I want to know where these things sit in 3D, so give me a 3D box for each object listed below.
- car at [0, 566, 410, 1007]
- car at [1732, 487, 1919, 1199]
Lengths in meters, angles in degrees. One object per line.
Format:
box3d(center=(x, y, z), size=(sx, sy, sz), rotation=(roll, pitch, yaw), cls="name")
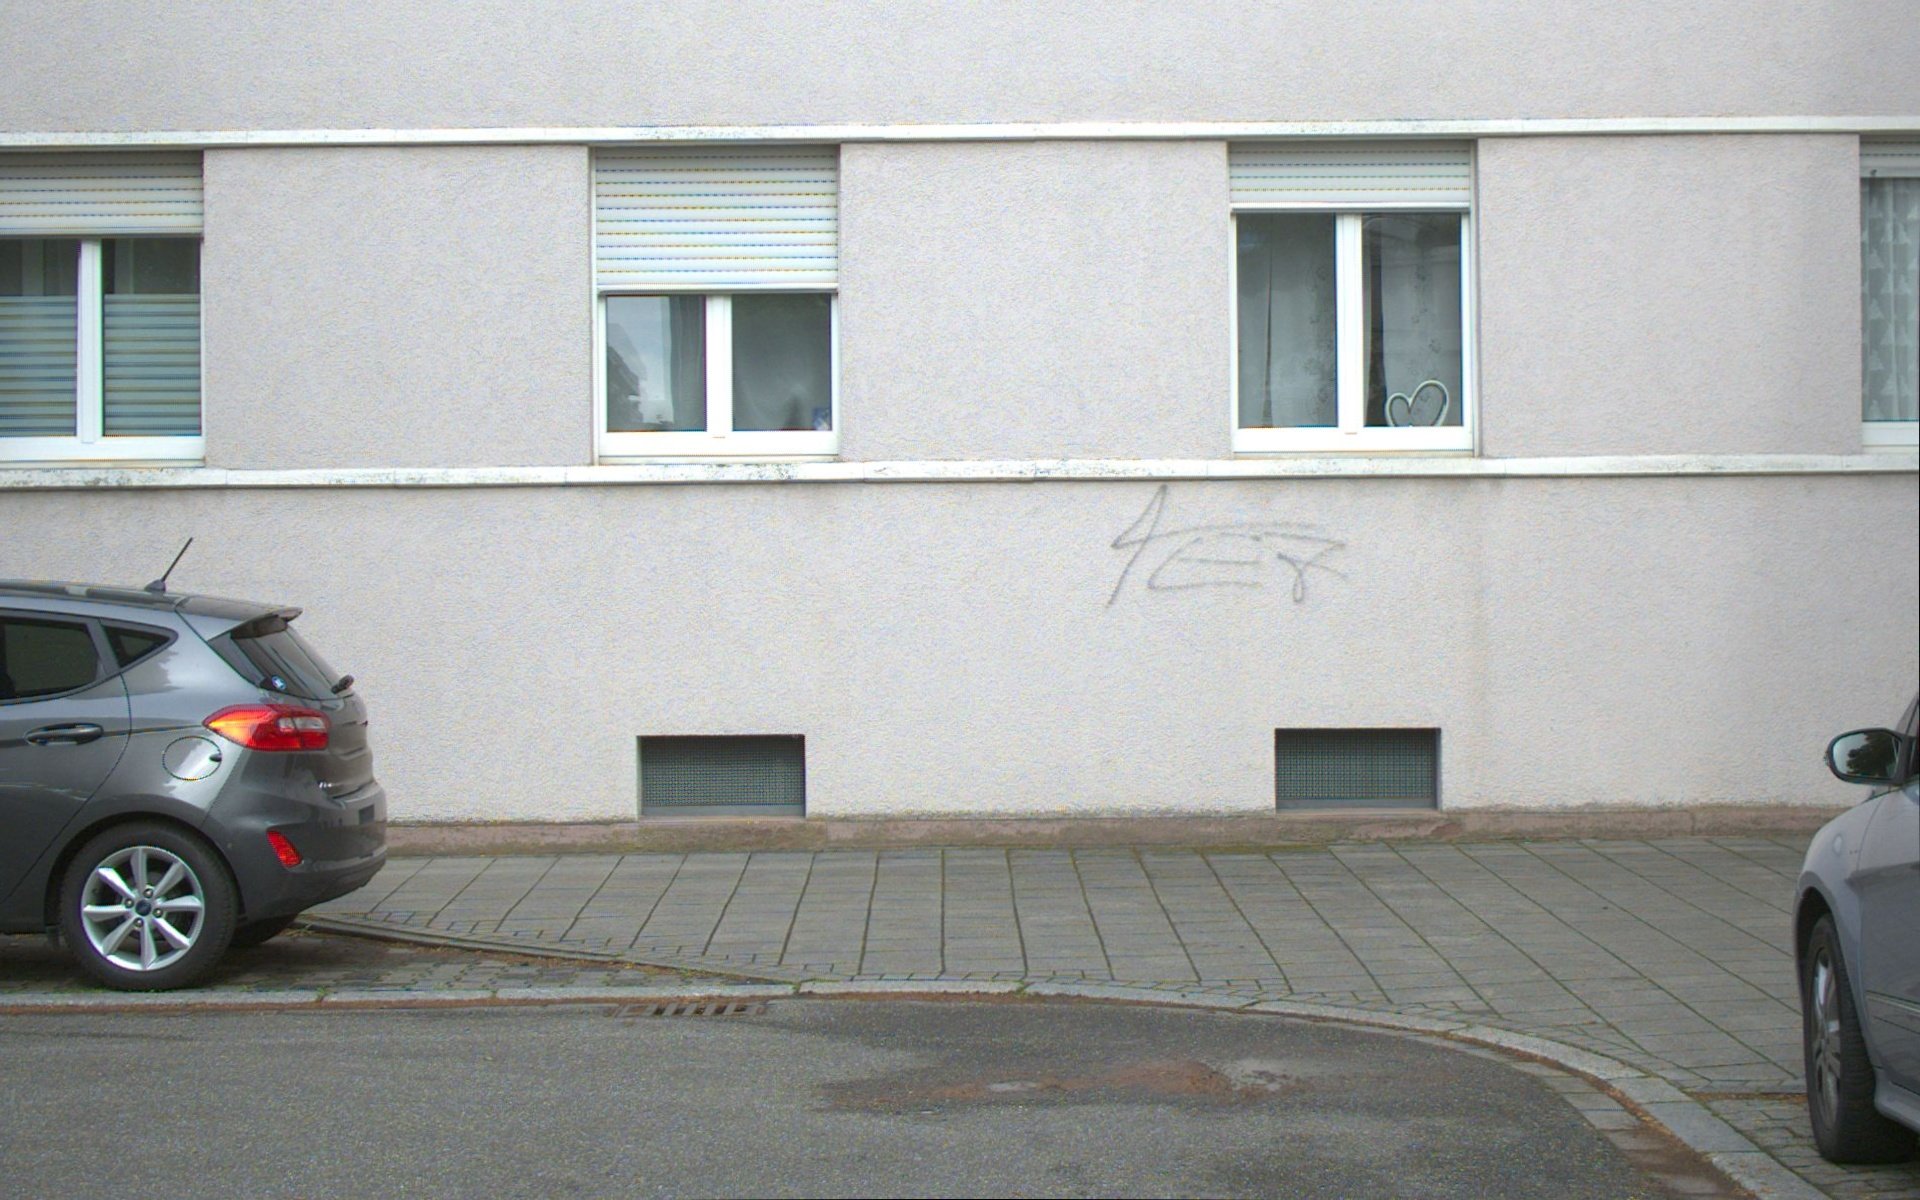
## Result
box3d(center=(-4.227, 0.645, 12.921), size=(4.065, 1.520, 1.763), rotation=(0, 1, -1), cls="car")
box3d(center=(2.855, 0.576, 7.073), size=(1.757, 1.622, 4.200), rotation=(0, 0, 3), cls="car")
